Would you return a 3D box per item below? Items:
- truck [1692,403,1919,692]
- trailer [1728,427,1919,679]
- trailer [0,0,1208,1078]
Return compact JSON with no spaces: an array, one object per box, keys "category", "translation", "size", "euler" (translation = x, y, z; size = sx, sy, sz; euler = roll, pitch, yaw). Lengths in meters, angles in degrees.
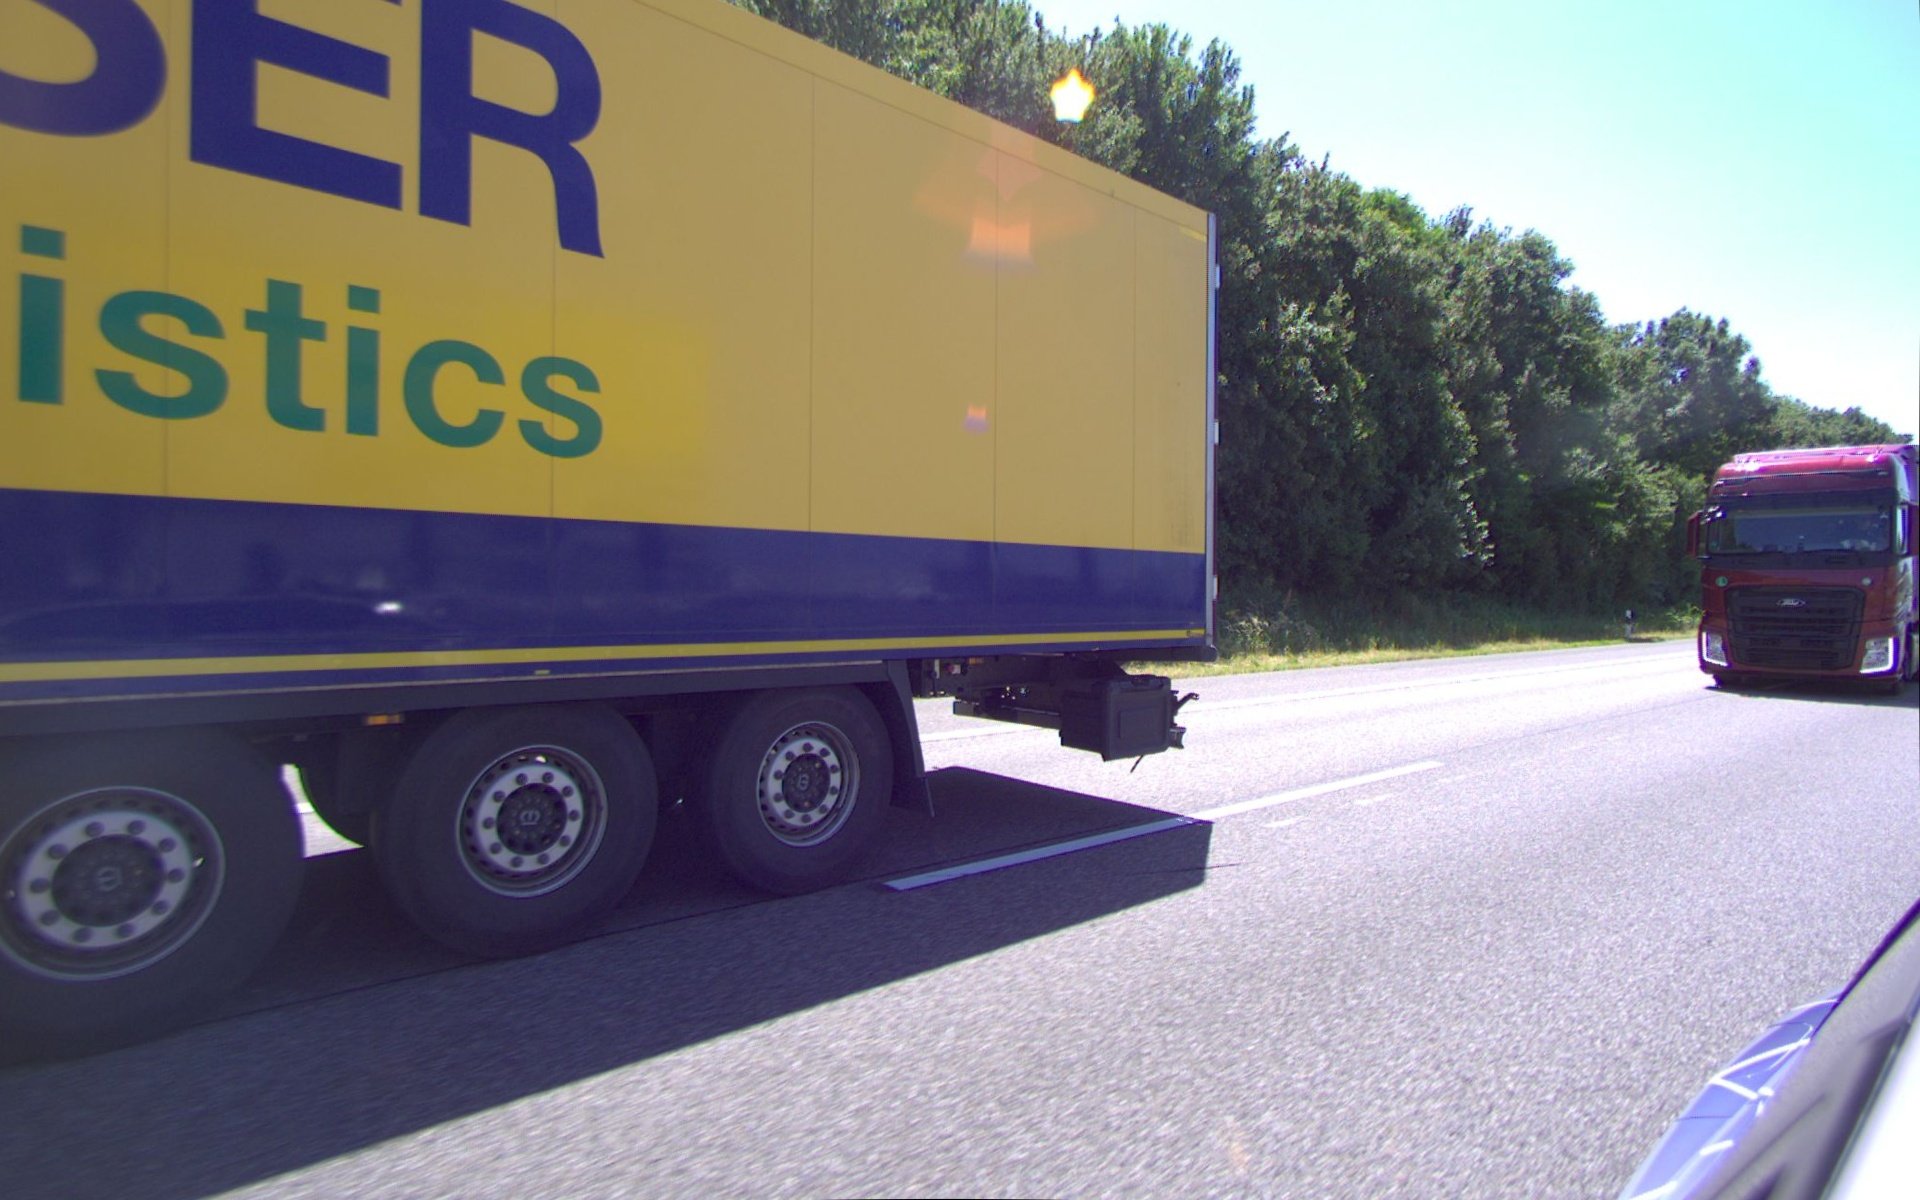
[{"category":"truck","translation":[14.931,-0.776,17.328],"size":[5.674,4.121,2.866],"euler":[0,0,-43]},{"category":"trailer","translation":[19.870,-0.804,21.975],"size":[13.602,4.121,2.881],"euler":[0,0,-43]},{"category":"trailer","translation":[-4.371,-0.734,3.130],"size":[13.594,4.121,2.682],"euler":[0,0,-41]}]
